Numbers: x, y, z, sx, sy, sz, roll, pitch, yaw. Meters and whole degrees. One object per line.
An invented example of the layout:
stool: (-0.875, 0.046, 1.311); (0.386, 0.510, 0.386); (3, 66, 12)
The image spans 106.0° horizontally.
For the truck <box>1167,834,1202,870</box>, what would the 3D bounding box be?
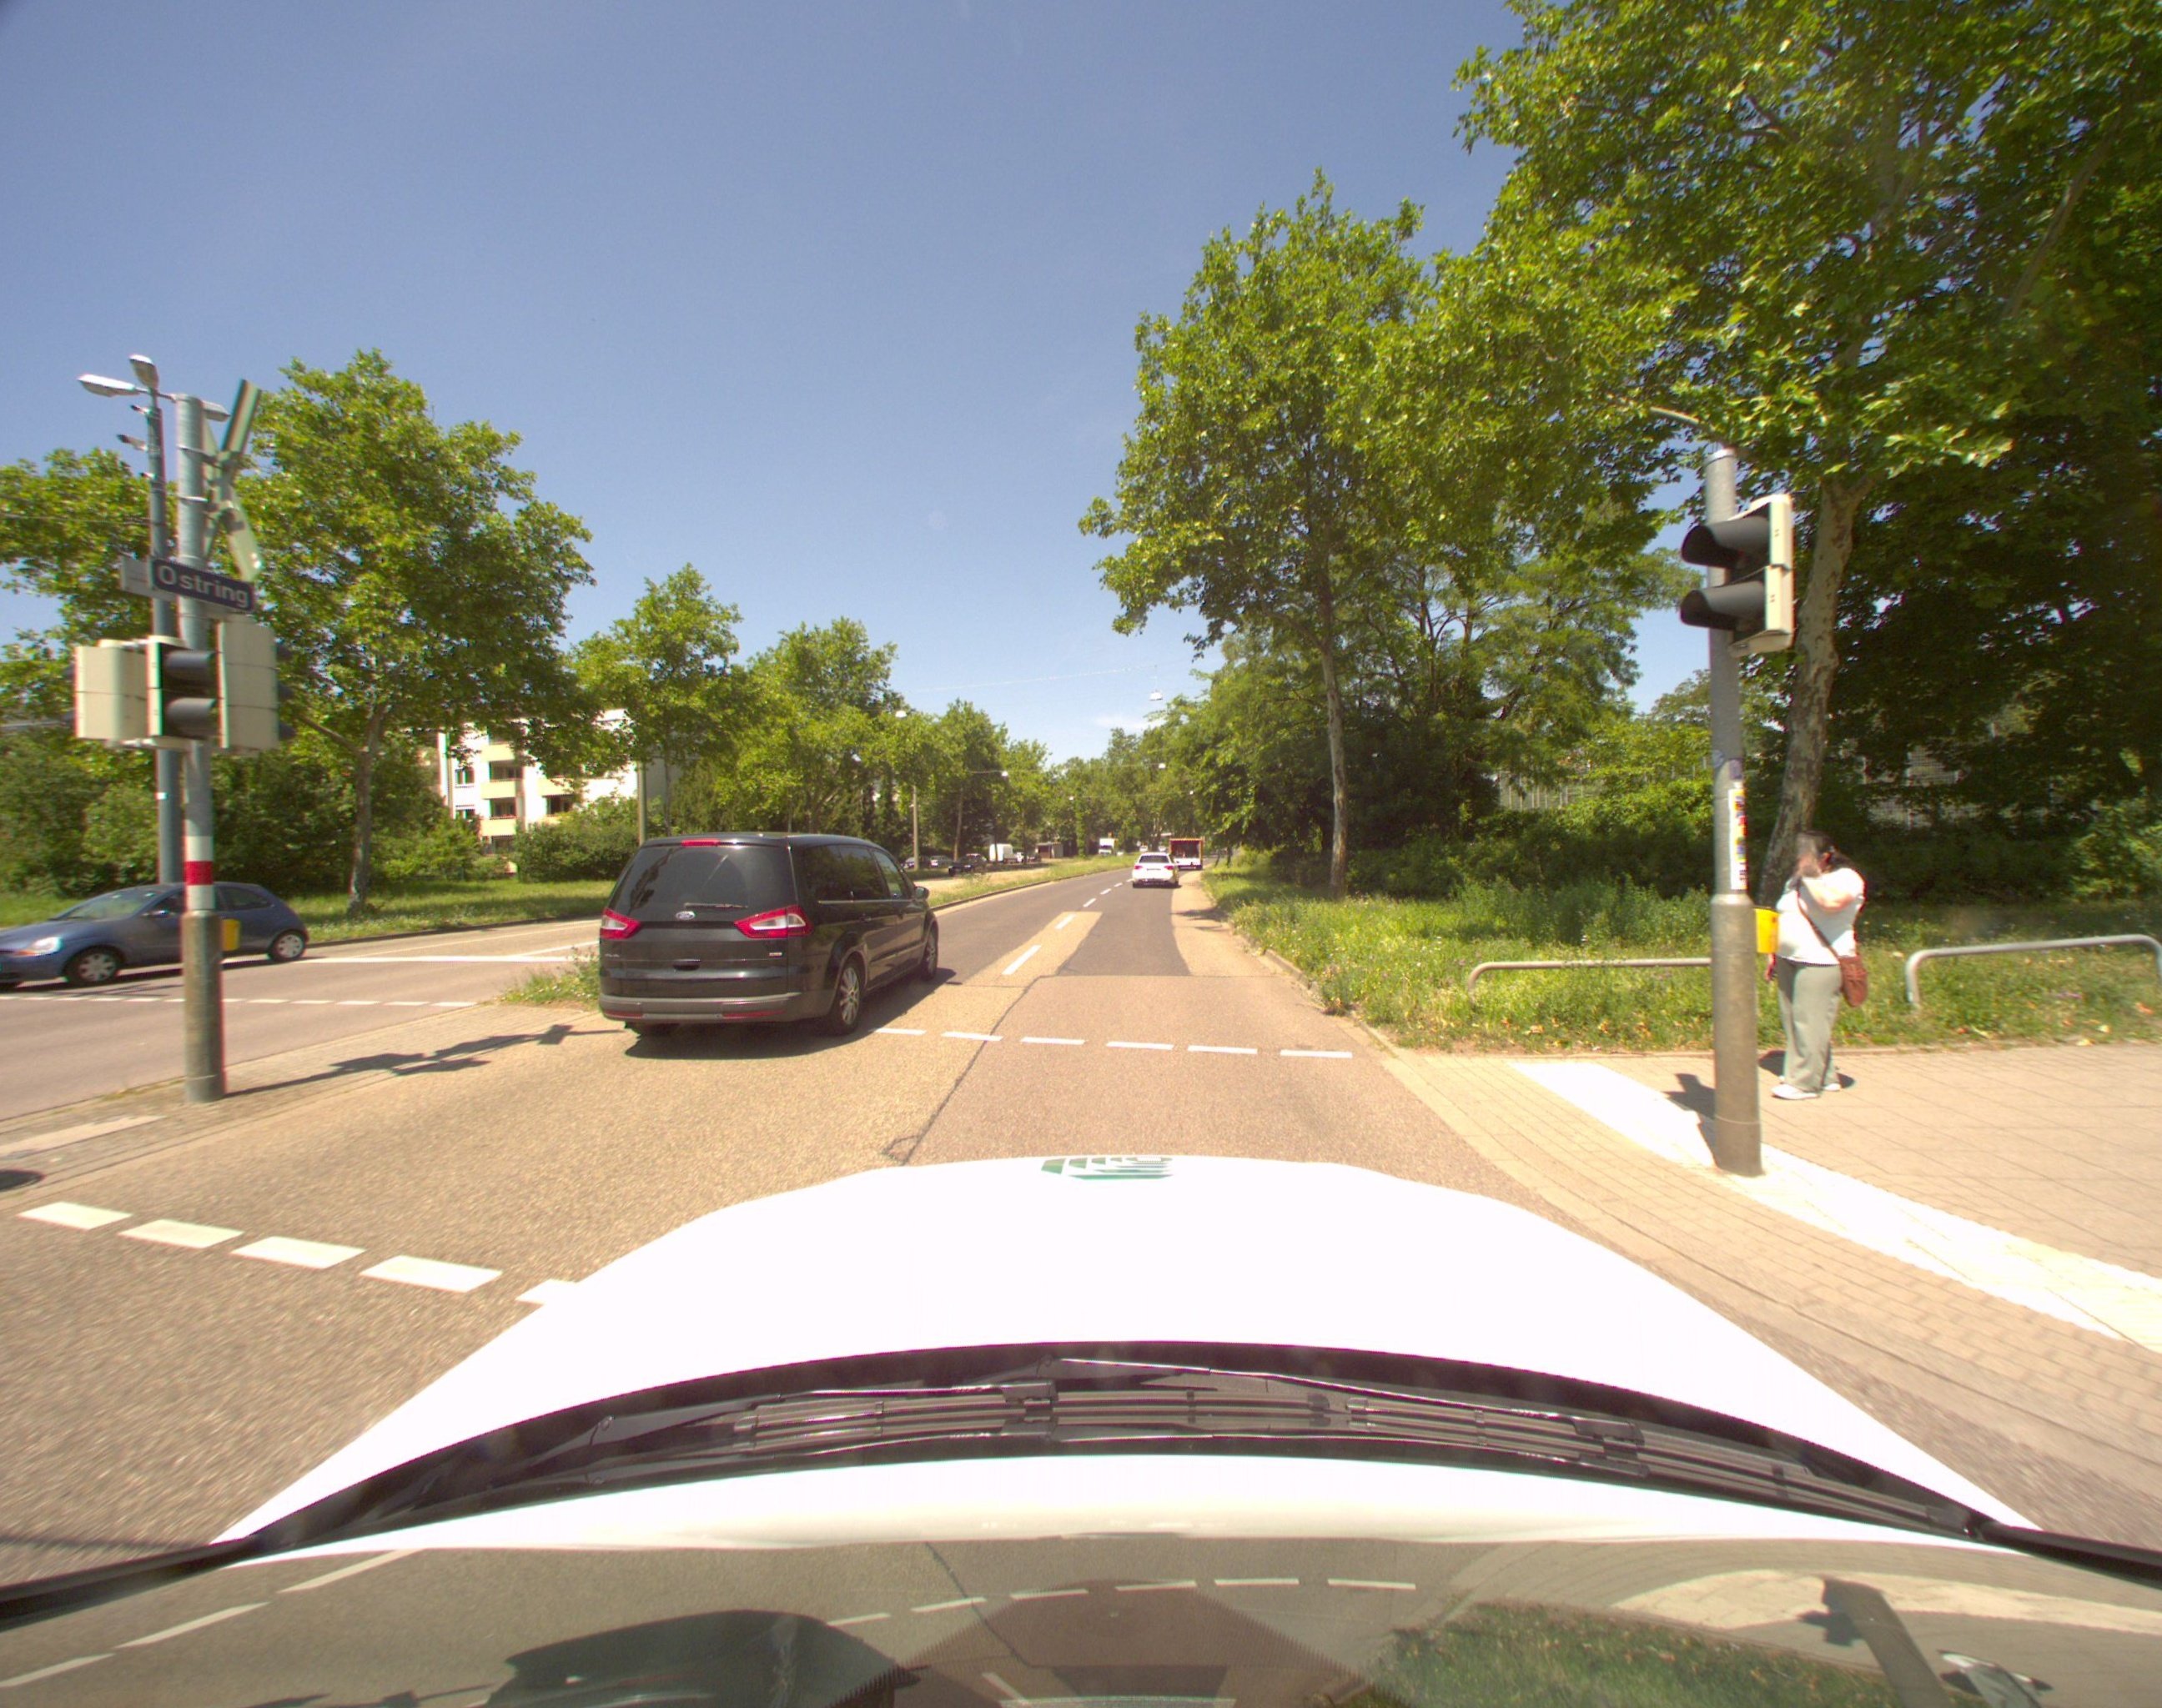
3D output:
truck: (8.017, -0.240, 62.331); (2.497, 2.559, 7.622); (0, 1, 8)

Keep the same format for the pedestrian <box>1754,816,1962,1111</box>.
pedestrian: (4.195, 0.550, 4.443); (0.549, 1.484, 0.631); (-1, 0, 9)

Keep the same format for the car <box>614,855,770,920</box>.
car: (-9.800, 0.784, 20.919); (1.728, 1.395, 4.182); (-3, 0, 4)

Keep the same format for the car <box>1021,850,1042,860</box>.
car: (-7.226, 0.169, 119.402); (1.814, 1.390, 3.965); (-2, 1, 17)

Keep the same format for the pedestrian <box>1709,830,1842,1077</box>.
pedestrian: (4.241, 0.582, 4.998); (0.431, 1.436, 0.454); (-2, 0, 10)

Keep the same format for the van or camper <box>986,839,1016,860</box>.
van or camper: (-10.470, -0.596, 107.344); (2.167, 2.587, 5.329); (-2, 1, 14)

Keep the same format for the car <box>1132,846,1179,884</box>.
car: (3.094, 0.403, 33.104); (1.753, 1.445, 3.623); (1, 0, 7)

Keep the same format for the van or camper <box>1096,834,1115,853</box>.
van or camper: (4.418, -1.823, 146.504); (2.646, 3.331, 5.513); (-1, 0, 8)

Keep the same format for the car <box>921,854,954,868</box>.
car: (-15.544, 0.737, 88.415); (1.867, 1.376, 4.018); (-1, 1, 17)

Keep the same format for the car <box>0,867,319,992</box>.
car: (-14.229, 1.004, 12.190); (1.711, 1.455, 3.876); (-2, 1, 6)

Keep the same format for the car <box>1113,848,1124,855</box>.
car: (7.411, -0.498, 161.219); (1.906, 1.210, 4.340); (-2, 1, 4)

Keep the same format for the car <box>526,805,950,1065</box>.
car: (-2.715, 0.533, 7.857); (1.846, 1.755, 4.654); (-1, 0, 4)

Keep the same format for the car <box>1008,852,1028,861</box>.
car: (-8.786, 0.344, 113.804); (1.681, 1.284, 3.816); (-1, 0, 13)

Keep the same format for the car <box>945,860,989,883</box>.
car: (-8.256, 1.231, 59.477); (1.801, 1.506, 4.607); (-2, 1, 10)

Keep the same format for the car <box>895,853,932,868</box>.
car: (-17.041, 0.664, 83.014); (1.866, 1.393, 4.020); (-1, 1, 20)
